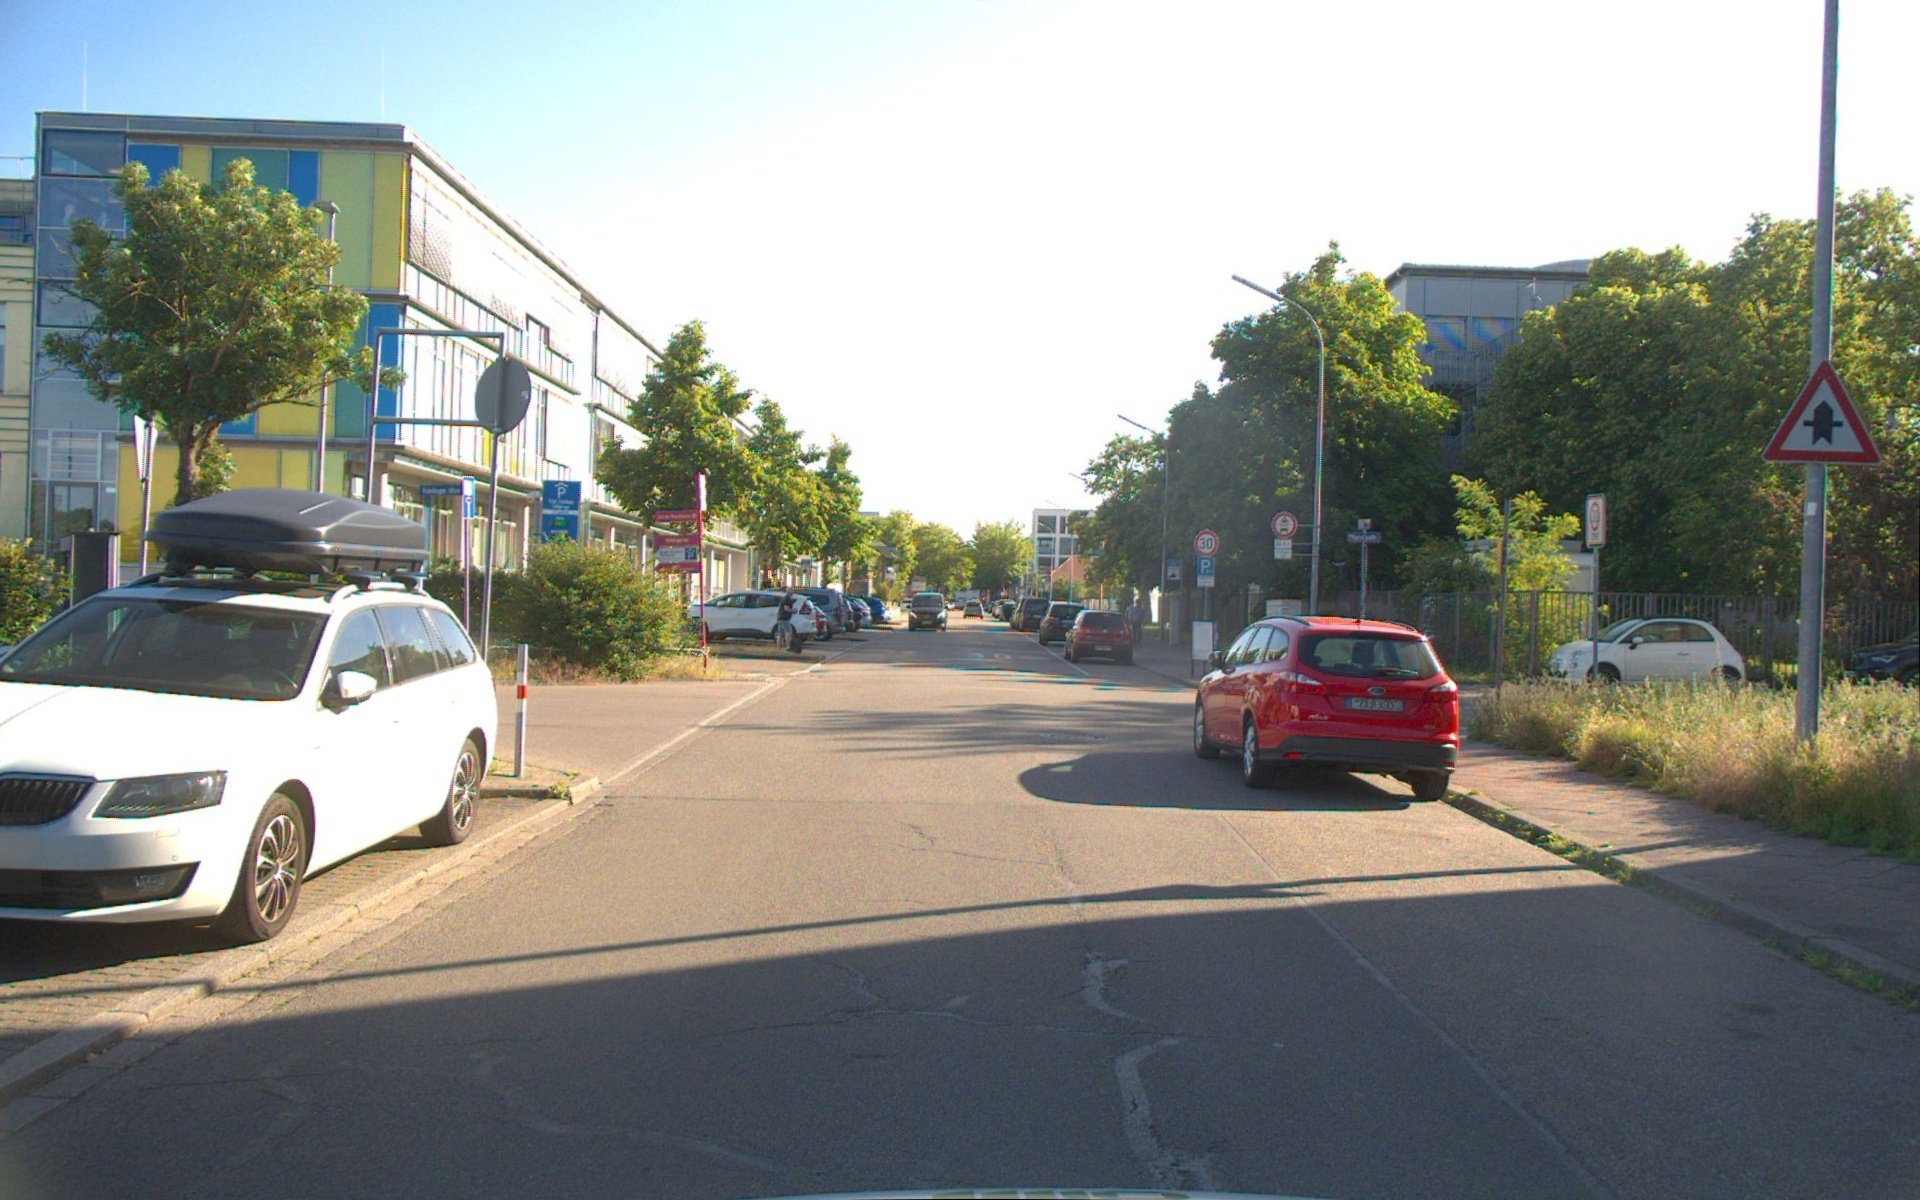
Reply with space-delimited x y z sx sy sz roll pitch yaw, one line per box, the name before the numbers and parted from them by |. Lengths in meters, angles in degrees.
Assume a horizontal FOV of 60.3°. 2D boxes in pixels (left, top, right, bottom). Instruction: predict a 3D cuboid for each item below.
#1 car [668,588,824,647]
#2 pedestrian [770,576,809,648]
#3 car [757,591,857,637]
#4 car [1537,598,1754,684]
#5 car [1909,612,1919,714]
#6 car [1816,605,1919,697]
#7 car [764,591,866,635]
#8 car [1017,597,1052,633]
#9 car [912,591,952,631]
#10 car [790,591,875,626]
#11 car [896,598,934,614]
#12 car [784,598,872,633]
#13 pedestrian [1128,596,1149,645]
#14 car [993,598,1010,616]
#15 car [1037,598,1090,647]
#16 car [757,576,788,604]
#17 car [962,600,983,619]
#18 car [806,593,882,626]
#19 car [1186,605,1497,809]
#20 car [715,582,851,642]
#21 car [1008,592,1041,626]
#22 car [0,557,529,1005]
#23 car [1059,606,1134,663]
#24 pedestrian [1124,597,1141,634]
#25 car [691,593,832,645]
car | -6.651 0.550 51.790 4.515 1.680 1.868 2 -1 3
pedestrian | -4.564 0.325 44.320 0.840 1.874 0.826 3 0 2
car | -6.163 0.569 67.090 3.908 1.635 1.871 3 0 -4
car | 13.063 0.759 31.650 3.473 1.512 1.600 1 0 1
car | 15.565 0.957 23.426 3.256 1.484 1.715 1 0 5
car | 18.659 0.981 31.215 4.067 1.665 1.756 1 0 1
car | -6.086 0.540 70.045 4.163 1.640 2.046 3 0 -4
car | 3.979 0.777 88.959 1.697 1.862 3.905 2 0 0
car | -1.407 0.539 84.256 1.915 1.900 5.254 1 0 0
car | -6.386 0.414 82.857 4.131 1.487 1.870 3 0 -4
car | -4.790 0.647 176.467 3.905 1.546 2.000 2 -1 0
car | -6.008 0.702 75.743 3.908 1.382 1.742 3 0 -4
pedestrian | 6.577 0.760 60.961 0.703 1.789 0.885 -1 0 1
car | 3.794 0.663 150.080 1.406 1.588 3.042 2 0 0
car | 3.975 0.849 63.998 1.775 1.695 4.593 3 1 1
car | -14.878 -0.813 131.610 1.953 2.049 3.999 2 -1 0
car | 1.029 0.788 140.786 1.708 1.570 4.000 2 0 0
car | -6.492 0.532 92.833 4.131 1.631 1.870 3 0 -4
car | 3.376 0.868 15.534 1.782 1.526 4.451 3 0 -1
car | -6.388 0.416 60.096 4.645 1.897 1.827 3 0 0
car | 3.945 0.553 101.448 1.836 2.013 4.000 1 0 0
car | -3.588 0.628 8.156 1.661 1.539 4.516 4 0 0
car | 3.909 0.970 47.957 1.685 1.480 4.651 3 0 -1
pedestrian | 7.827 0.696 75.130 0.684 1.690 0.751 -1 0 0
car | -6.496 0.623 54.447 4.343 1.527 1.827 2 -1 0
